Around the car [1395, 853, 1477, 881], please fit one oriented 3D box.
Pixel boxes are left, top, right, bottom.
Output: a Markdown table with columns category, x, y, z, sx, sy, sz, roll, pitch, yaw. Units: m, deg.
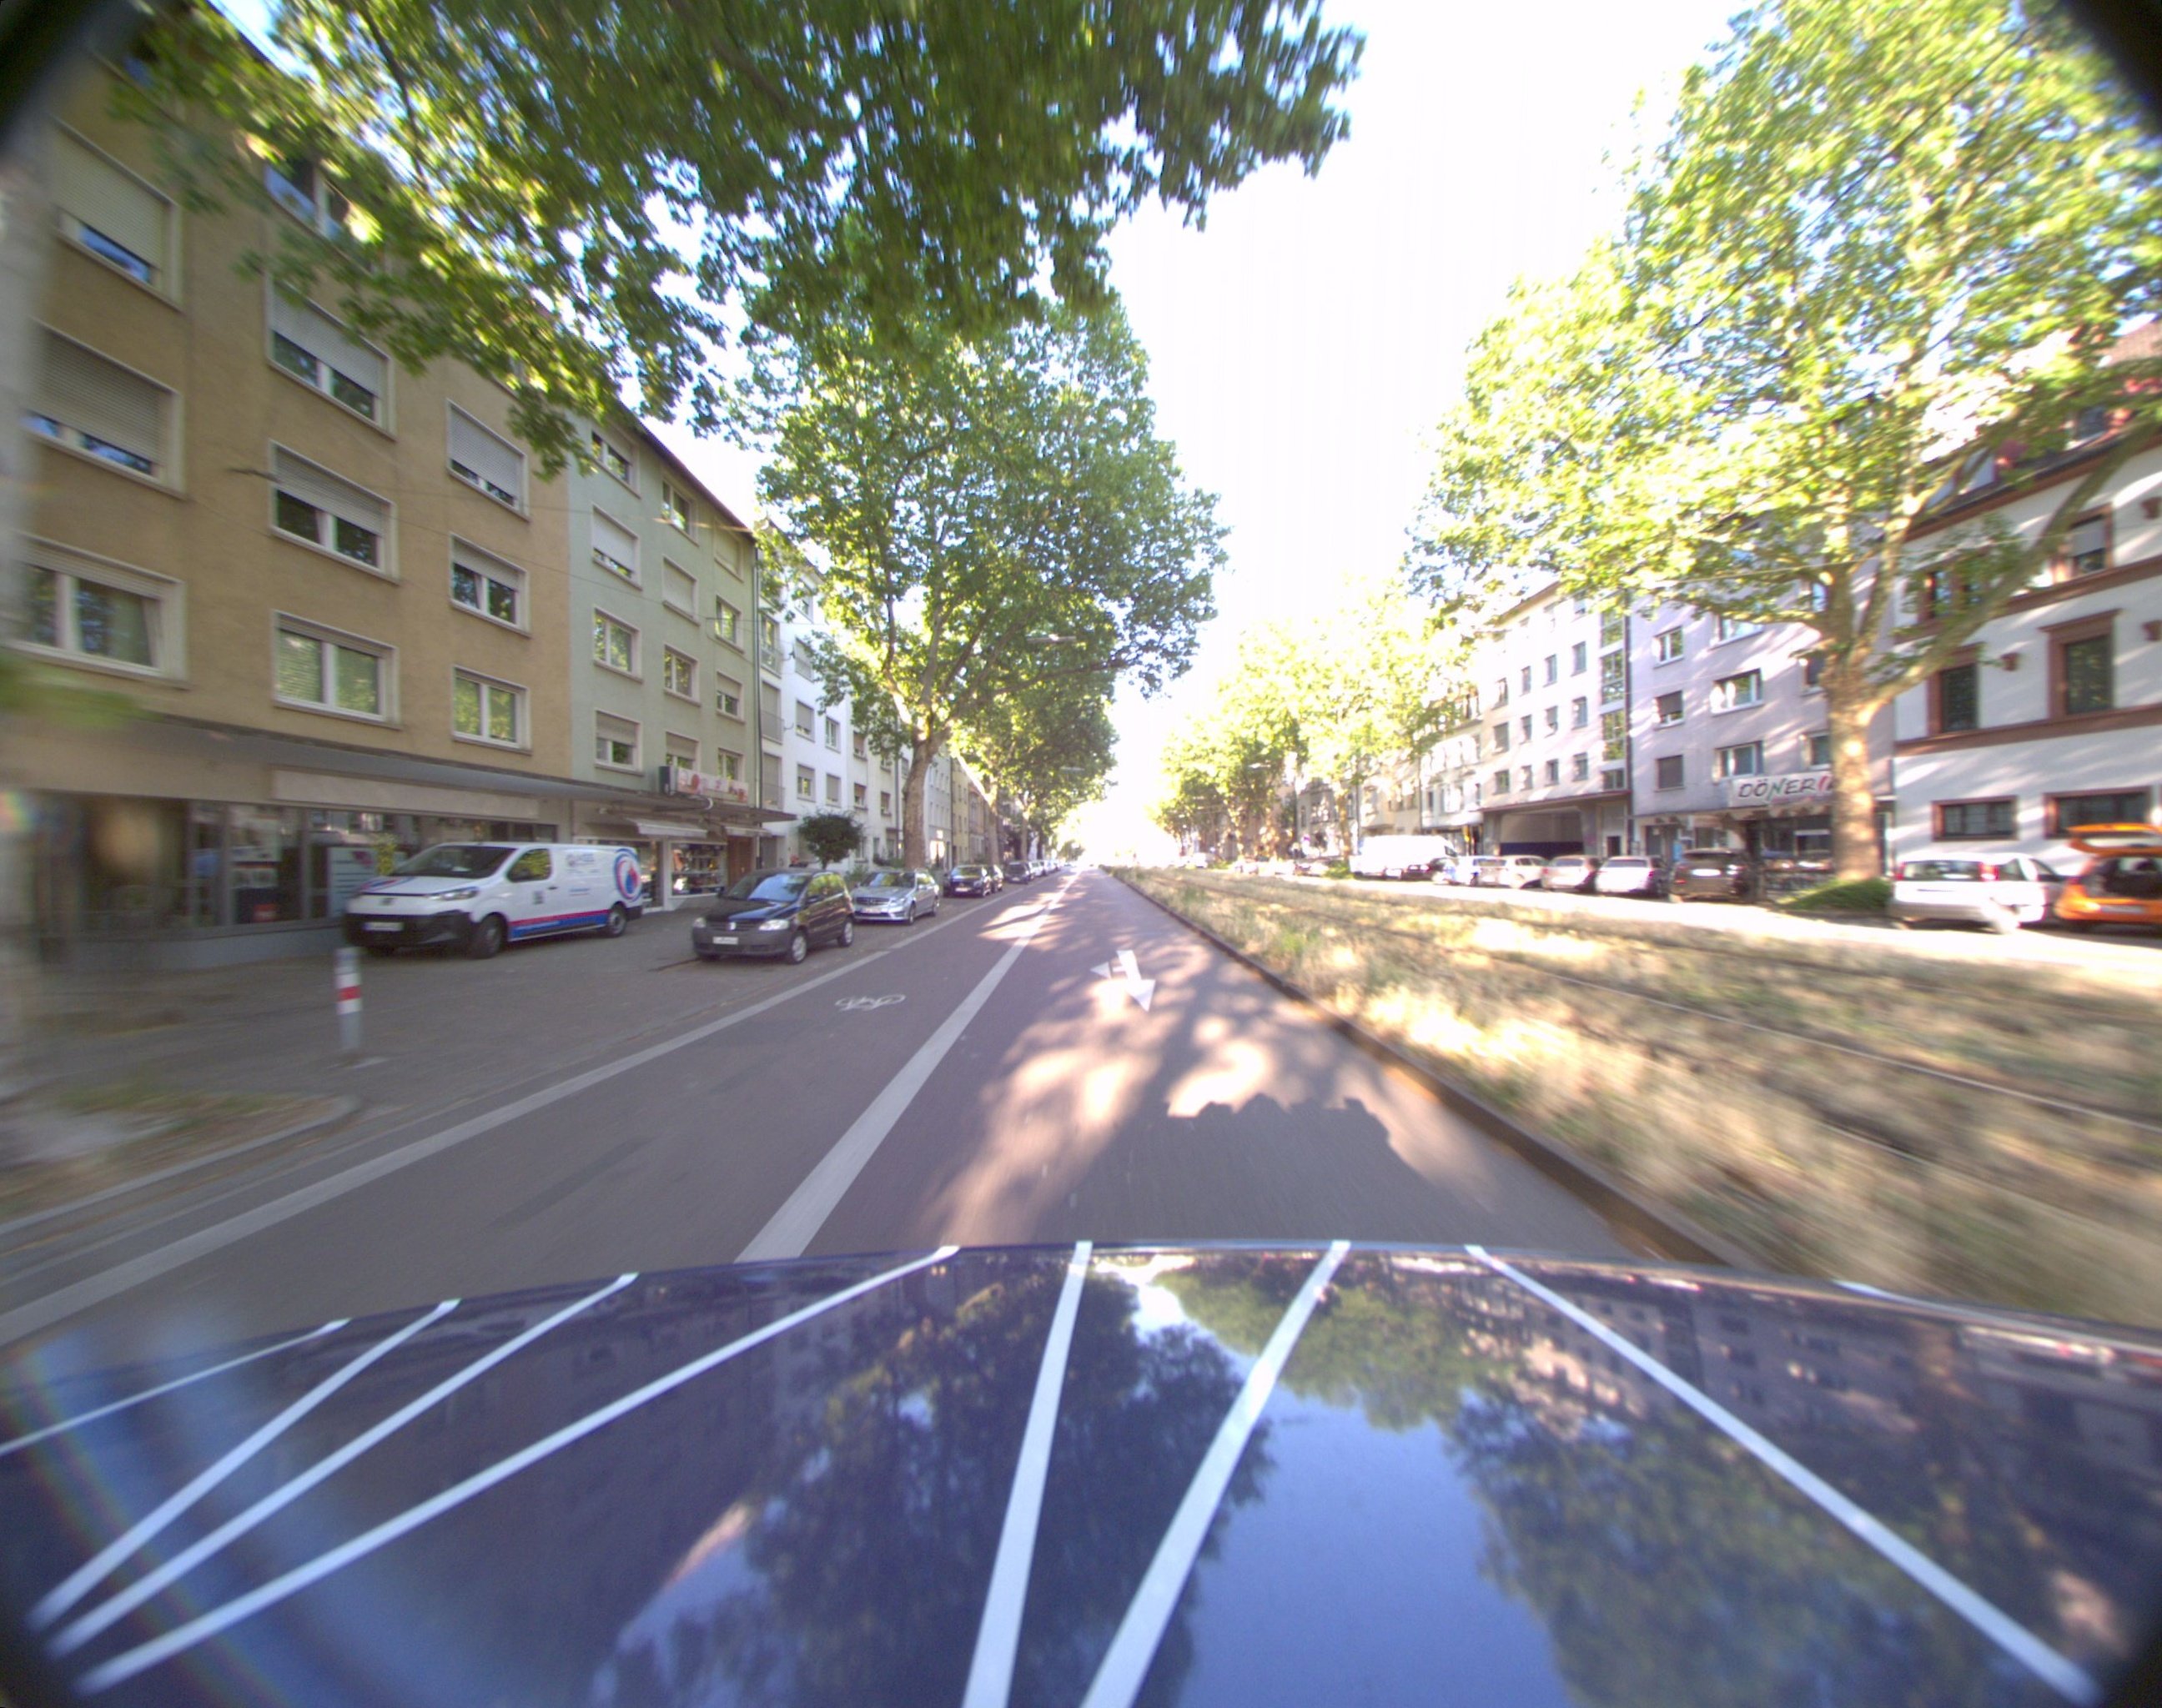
| category | x | y | z | sx | sy | sz | roll | pitch | yaw |
| --- | --- | --- | --- | --- | --- | --- | --- | --- | --- |
| car | 20.254 | 0.722 | 43.366 | 4.004 | 1.482 | 1.997 | 0 | -1 | -21 |

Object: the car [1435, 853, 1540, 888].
| category | x | y | z | sx | sy | sz | roll | pitch | yaw |
| --- | --- | --- | --- | --- | --- | --- | --- | --- | --- |
| car | 19.417 | 0.767 | 36.418 | 3.998 | 1.412 | 1.857 | -3 | 0 | -3 |

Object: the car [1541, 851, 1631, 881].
| category | x | y | z | sx | sy | sz | roll | pitch | yaw |
| --- | --- | --- | --- | --- | --- | --- | --- | --- | --- |
| car | 29.379 | 0.677 | 44.302 | 3.997 | 1.710 | 1.906 | -1 | 0 | 0 |

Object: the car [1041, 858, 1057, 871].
| category | x | y | z | sx | sy | sz | roll | pitch | yaw |
| --- | --- | --- | --- | --- | --- | --- | --- | --- | --- |
| car | -4.156 | 1.364 | 98.506 | 1.790 | 1.609 | 3.829 | 1 | 0 | 0 |

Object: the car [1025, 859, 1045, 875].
| category | x | y | z | sx | sy | sz | roll | pitch | yaw |
| --- | --- | --- | --- | --- | --- | --- | --- | --- | --- |
| car | -4.546 | 1.252 | 75.185 | 1.702 | 1.517 | 4.195 | -1 | 0 | 0 |

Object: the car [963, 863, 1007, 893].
| category | x | y | z | sx | sy | sz | roll | pitch | yaw |
| --- | --- | --- | --- | --- | --- | --- | --- | --- | --- |
| car | -4.908 | 1.202 | 39.343 | 1.713 | 1.407 | 4.364 | 1 | 0 | 0 |

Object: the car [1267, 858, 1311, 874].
| category | x | y | z | sx | sy | sz | roll | pitch | yaw |
| --- | --- | --- | --- | --- | --- | --- | --- | --- | --- |
| car | 19.134 | 1.049 | 69.875 | 3.686 | 1.381 | 1.822 | -1 | 0 | -30 |

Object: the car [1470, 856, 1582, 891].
| category | x | y | z | sx | sy | sz | roll | pitch | yaw |
| --- | --- | --- | --- | --- | --- | --- | --- | --- | --- |
| car | 19.583 | 0.831 | 33.512 | 4.001 | 1.483 | 1.949 | -1 | 0 | -13 |

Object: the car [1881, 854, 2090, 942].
| category | x | y | z | sx | sy | sz | roll | pitch | yaw |
| --- | --- | --- | --- | --- | --- | --- | --- | --- | --- |
| car | 18.192 | 0.798 | 15.259 | 4.369 | 1.440 | 1.656 | -2 | 1 | -26 |

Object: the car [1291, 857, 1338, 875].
| category | x | y | z | sx | sy | sz | roll | pitch | yaw |
| --- | --- | --- | --- | --- | --- | --- | --- | --- | --- |
| car | 20.080 | 1.040 | 65.357 | 4.008 | 1.524 | 1.821 | 1 | -1 | -35 |

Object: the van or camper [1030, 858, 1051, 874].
| category | x | y | z | sx | sy | sz | roll | pitch | yaw |
| --- | --- | --- | --- | --- | --- | --- | --- | --- | --- |
| van or camper | -4.323 | 1.255 | 81.482 | 1.790 | 1.710 | 4.380 | 1 | 0 | 2 |

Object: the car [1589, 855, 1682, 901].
| category | x | y | z | sx | sy | sz | roll | pitch | yaw |
| --- | --- | --- | --- | --- | --- | --- | --- | --- | --- |
| car | 19.284 | 0.792 | 26.364 | 4.008 | 1.377 | 1.907 | -2 | 0 | -44 |

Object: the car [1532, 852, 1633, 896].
| category | x | y | z | sx | sy | sz | roll | pitch | yaw |
| --- | --- | --- | --- | --- | --- | --- | --- | --- | --- |
| car | 19.416 | 0.748 | 29.383 | 4.006 | 1.414 | 1.752 | -3 | 0 | -33 |

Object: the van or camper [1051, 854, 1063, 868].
| category | x | y | z | sx | sy | sz | roll | pitch | yaw |
| --- | --- | --- | --- | --- | --- | --- | --- | --- | --- |
| van or camper | -3.820 | 1.167 | 122.604 | 1.790 | 2.172 | 4.732 | 1 | 0 | 0 |

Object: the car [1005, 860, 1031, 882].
| category | x | y | z | sx | sy | sz | roll | pitch | yaw |
| --- | --- | --- | --- | --- | --- | --- | --- | --- | --- |
| car | -4.563 | 1.214 | 55.262 | 1.748 | 1.455 | 4.024 | -1 | 0 | -4 |

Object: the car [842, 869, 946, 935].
| category | x | y | z | sx | sy | sz | roll | pitch | yaw |
| --- | --- | --- | --- | --- | --- | --- | --- | --- | --- |
| car | -5.071 | 1.234 | 21.251 | 1.699 | 1.533 | 4.777 | -1 | 0 | 0 |

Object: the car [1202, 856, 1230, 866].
| category | x | y | z | sx | sy | sz | roll | pitch | yaw |
| --- | --- | --- | --- | --- | --- | --- | --- | --- | --- |
| car | 20.546 | 1.083 | 115.632 | 4.006 | 1.240 | 1.726 | -4 | 1 | -33 |

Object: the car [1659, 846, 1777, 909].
| category | x | y | z | sx | sy | sz | roll | pitch | yaw |
| --- | --- | --- | --- | --- | --- | --- | --- | --- | --- |
| car | 18.999 | 0.658 | 22.603 | 4.008 | 1.651 | 1.995 | -2 | -1 | -40 |

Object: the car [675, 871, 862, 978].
| category | x | y | z | sx | sy | sz | roll | pitch | yaw |
| --- | --- | --- | --- | --- | --- | --- | --- | --- | --- |
| car | -5.298 | 1.110 | 13.497 | 1.658 | 1.536 | 4.000 | 0 | 0 | 0 |

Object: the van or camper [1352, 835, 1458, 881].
| category | x | y | z | sx | sy | sz | roll | pitch | yaw |
| --- | --- | --- | --- | --- | --- | --- | --- | --- | --- |
| van or camper | 19.563 | 0.211 | 45.889 | 5.973 | 2.630 | 2.175 | -1 | 0 | -20 |

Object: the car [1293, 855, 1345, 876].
| category | x | y | z | sx | sy | sz | roll | pitch | yaw |
| --- | --- | --- | --- | --- | --- | --- | --- | --- | --- |
| car | 19.458 | 0.940 | 61.986 | 4.169 | 1.583 | 1.932 | 2 | -1 | -36 |

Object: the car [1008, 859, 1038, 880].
| category | x | y | z | sx | sy | sz | roll | pitch | yaw |
| --- | --- | --- | --- | --- | --- | --- | --- | --- | --- |
| car | -4.669 | 1.201 | 62.041 | 1.998 | 1.557 | 4.664 | 1 | 0 | 0 |

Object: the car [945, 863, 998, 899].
| category | x | y | z | sx | sy | sz | roll | pitch | yaw |
| --- | --- | --- | --- | --- | --- | --- | --- | --- | --- |
| car | -4.892 | 1.167 | 34.451 | 1.713 | 1.407 | 4.364 | 1 | 0 | 0 |

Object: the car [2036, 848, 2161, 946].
| category | x | y | z | sx | sy | sz | roll | pitch | yaw |
| --- | --- | --- | --- | --- | --- | --- | --- | --- | --- |
| car | 19.629 | 0.702 | 13.688 | 4.003 | 1.471 | 1.774 | -3 | 0 | -19 |

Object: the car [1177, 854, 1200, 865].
| category | x | y | z | sx | sy | sz | roll | pitch | yaw |
| --- | --- | --- | --- | --- | --- | --- | --- | --- | --- |
| car | 20.275 | 1.021 | 143.253 | 4.007 | 2.002 | 1.995 | -3 | 1 | -41 |

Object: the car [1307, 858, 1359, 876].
| category | x | y | z | sx | sy | sz | roll | pitch | yaw |
| --- | --- | --- | --- | --- | --- | --- | --- | --- | --- |
| car | 19.466 | 1.020 | 58.698 | 4.014 | 1.349 | 1.797 | 0 | -1 | -36 |

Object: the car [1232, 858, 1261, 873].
| category | x | y | z | sx | sy | sz | roll | pitch | yaw |
| --- | --- | --- | --- | --- | --- | --- | --- | --- | --- |
| car | 16.018 | 1.076 | 73.636 | 1.825 | 1.381 | 4.484 | 1 | 0 | 0 |

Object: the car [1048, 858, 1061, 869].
| category | x | y | z | sx | sy | sz | roll | pitch | yaw |
| --- | --- | --- | --- | --- | --- | --- | --- | --- | --- |
| car | -4.024 | 1.441 | 115.872 | 1.791 | 1.585 | 4.013 | 1 | 0 | -1 |

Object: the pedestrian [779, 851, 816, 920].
| category | x | y | z | sx | sy | sz | roll | pitch | yaw |
| --- | --- | --- | --- | --- | --- | --- | --- | --- | --- |
| pedestrian | -8.411 | 0.924 | 22.593 | 0.684 | 2.002 | 1.012 | -1 | 0 | 0 |

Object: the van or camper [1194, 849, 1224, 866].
| category | x | y | z | sx | sy | sz | roll | pitch | yaw |
| --- | --- | --- | --- | --- | --- | --- | --- | --- | --- |
| van or camper | 19.964 | 0.537 | 118.166 | 4.371 | 2.386 | 2.196 | -4 | 1 | -39 |

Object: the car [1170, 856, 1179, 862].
| category | x | y | z | sx | sy | sz | roll | pitch | yaw |
| --- | --- | --- | --- | --- | --- | --- | --- | --- | --- |
| car | 23.507 | 1.271 | 190.854 | 1.998 | 1.412 | 4.001 | -3 | 0 | 3 |

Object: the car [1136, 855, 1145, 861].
| category | x | y | z | sx | sy | sz | roll | pitch | yaw |
| --- | --- | --- | --- | --- | --- | --- | --- | --- | --- |
| car | 14.659 | 0.969 | 186.770 | 1.998 | 1.477 | 4.000 | -3 | 0 | 2 |

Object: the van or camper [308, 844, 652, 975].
| category | x | y | z | sx | sy | sz | roll | pitch | yaw |
| --- | --- | --- | --- | --- | --- | --- | --- | --- | --- |
| van or camper | -10.305 | 0.820 | 13.804 | 1.947 | 1.911 | 5.391 | 0 | 0 | 0 |

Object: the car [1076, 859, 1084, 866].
| category | x | y | z | sx | sy | sz | roll | pitch | yaw |
| --- | --- | --- | --- | --- | --- | --- | --- | --- | --- |
| car | -0.220 | 1.953 | 184.150 | 1.893 | 1.501 | 4.000 | -3 | 0 | 2 |

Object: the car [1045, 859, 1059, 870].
| category | x | y | z | sx | sy | sz | roll | pitch | yaw |
| --- | --- | --- | --- | --- | --- | --- | --- | --- | --- |
| car | -4.139 | 1.463 | 108.581 | 1.790 | 1.458 | 3.570 | 1 | 0 | 0 |

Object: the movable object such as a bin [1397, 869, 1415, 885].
| category | x | y | z | sx | sy | sz | roll | pitch | yaw |
| --- | --- | --- | --- | --- | --- | --- | --- | --- | --- |
| movable object such as a bin | 20.861 | 1.454 | 48.775 | 0.741 | 1.016 | 0.868 | 0 | 0 | -12 |
